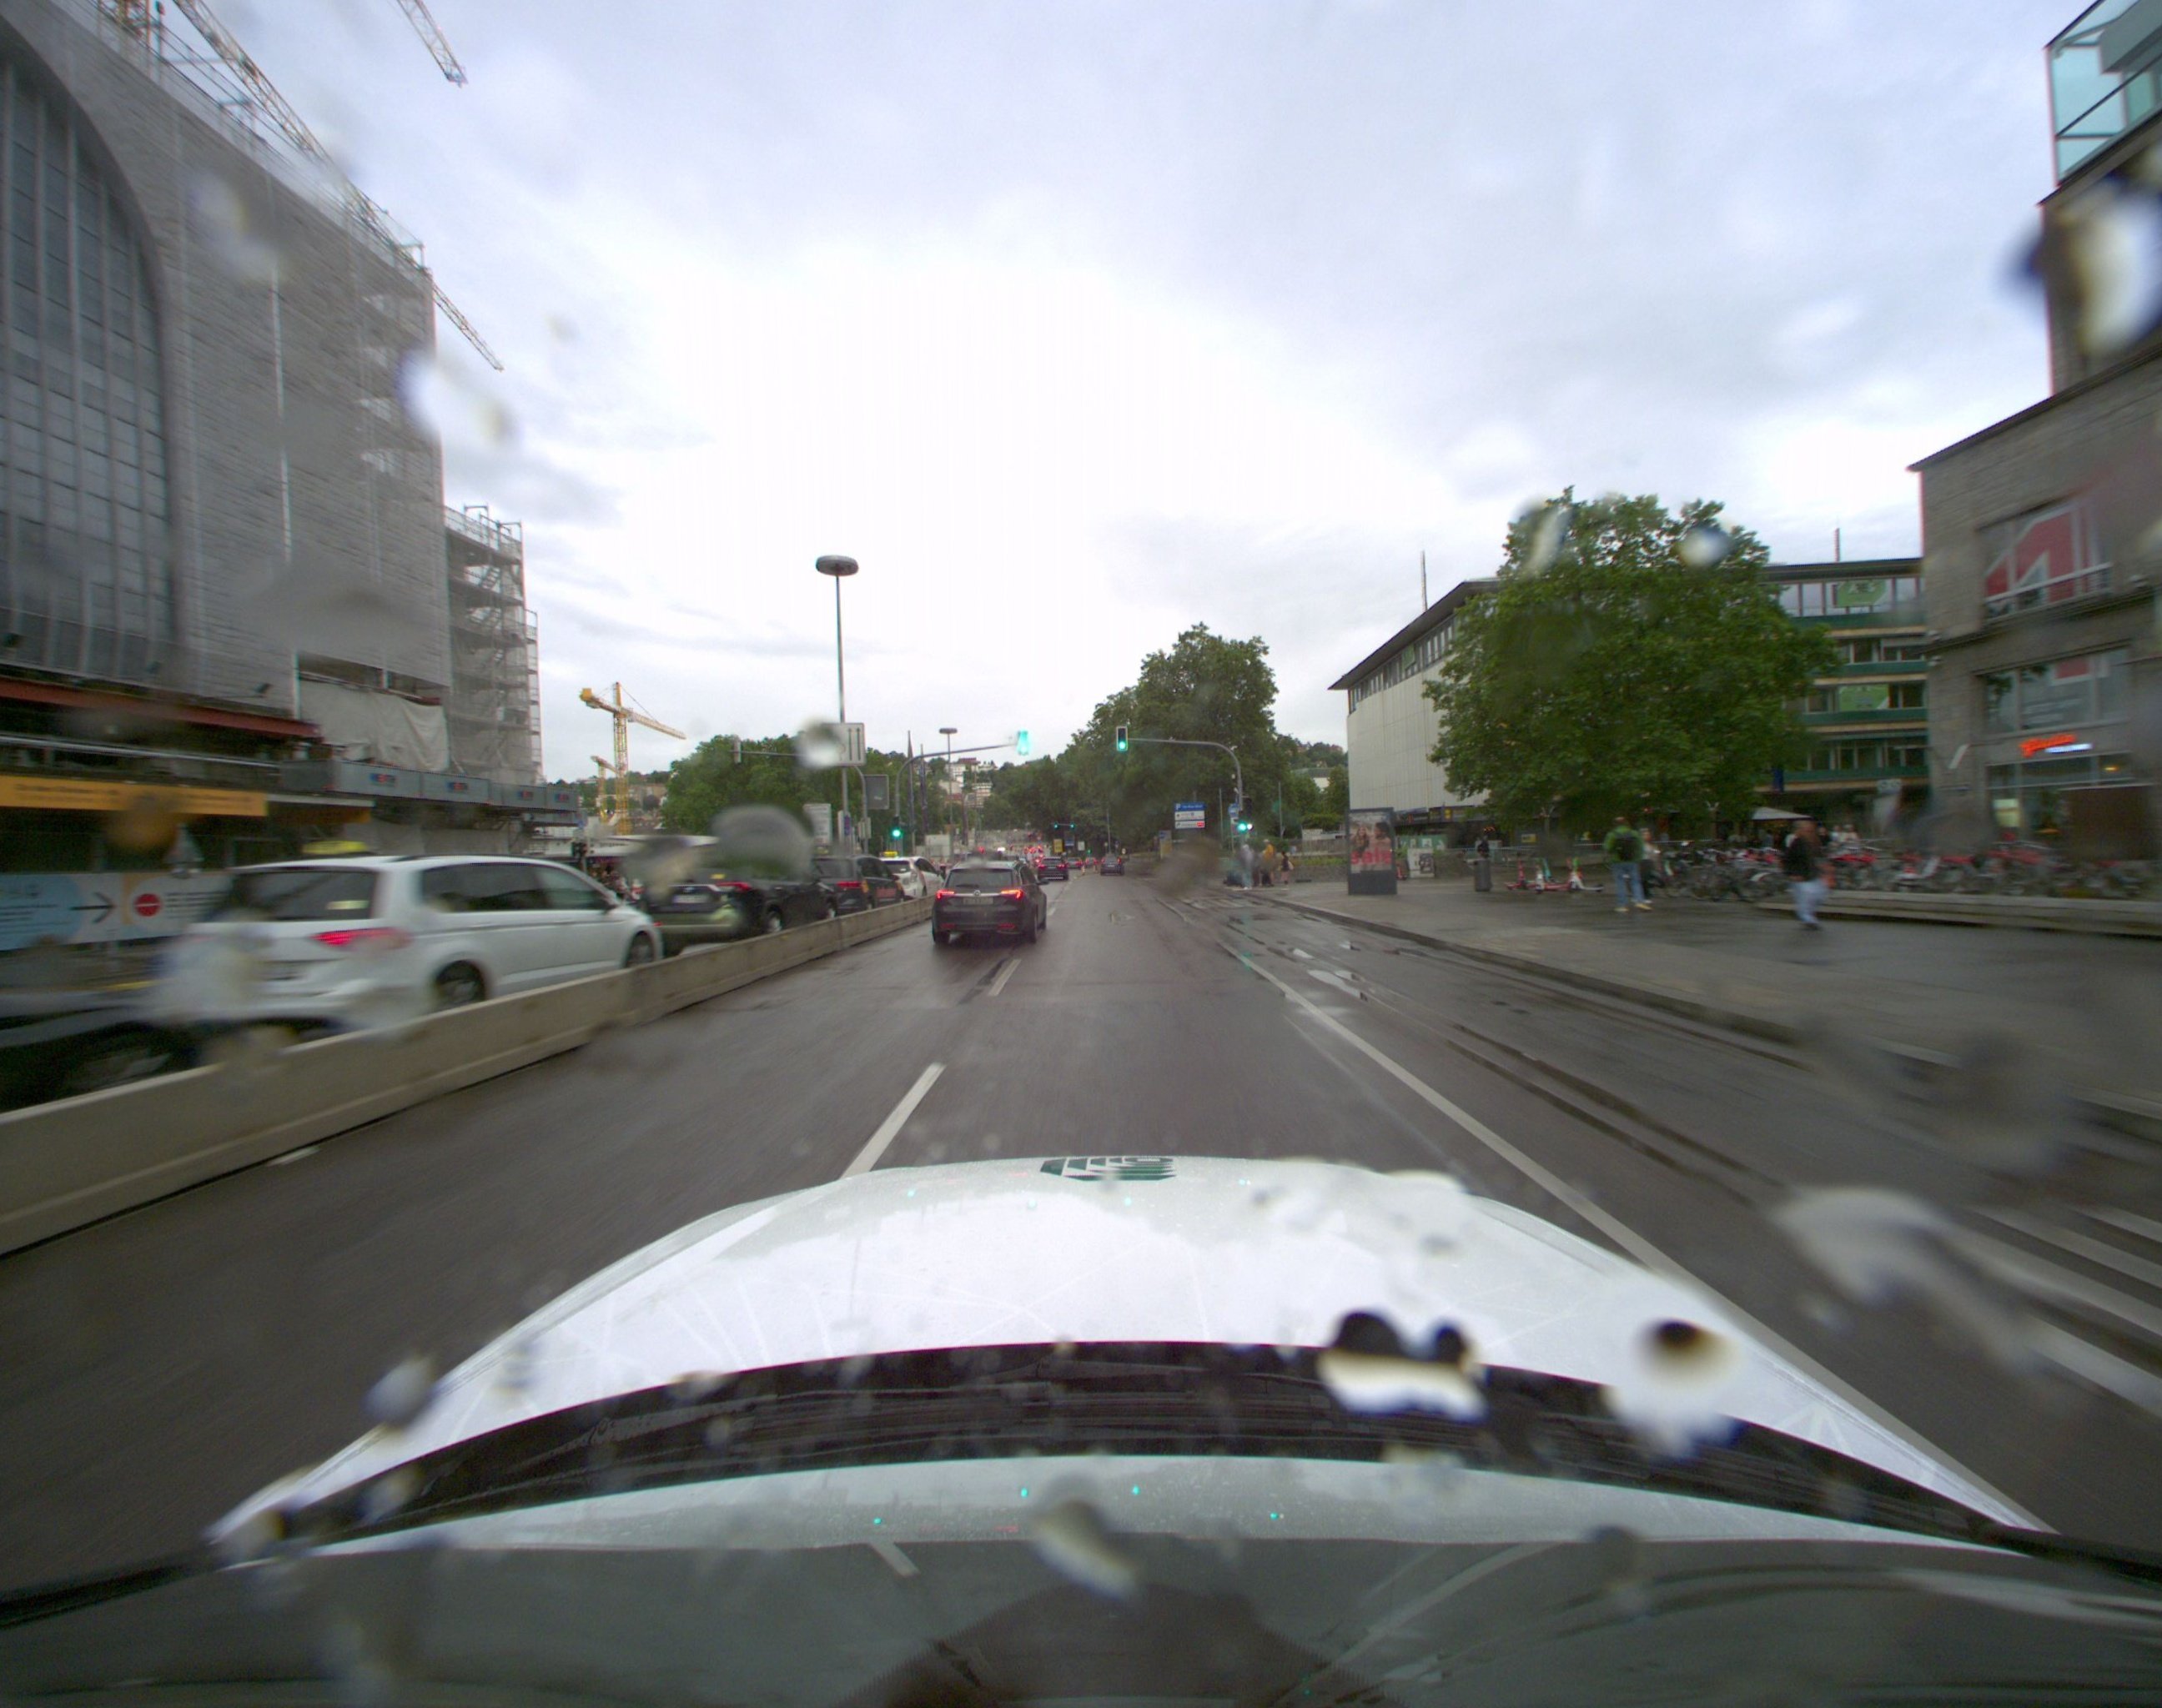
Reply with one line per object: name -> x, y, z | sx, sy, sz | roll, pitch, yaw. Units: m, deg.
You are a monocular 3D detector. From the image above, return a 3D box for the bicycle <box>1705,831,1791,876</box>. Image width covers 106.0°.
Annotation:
bicycle -> 20.235, -0.012, 24.725 | 1.981, 1.237, 0.618 | -4, 0, 3

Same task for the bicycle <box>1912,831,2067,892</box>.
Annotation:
bicycle -> 19.868, 0.148, 17.821 | 2.878, 1.109, 0.877 | -4, 0, -11

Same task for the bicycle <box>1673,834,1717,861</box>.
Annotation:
bicycle -> 26.736, -0.282, 35.515 | 0.612, 1.102, 2.030 | -4, 0, 10

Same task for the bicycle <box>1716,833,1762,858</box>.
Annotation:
bicycle -> 28.590, -0.380, 35.442 | 0.612, 1.025, 2.001 | -4, 0, 10

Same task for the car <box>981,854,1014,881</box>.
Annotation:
car -> -5.567, 0.882, 54.990 | 1.819, 1.696, 4.770 | -1, 0, -2

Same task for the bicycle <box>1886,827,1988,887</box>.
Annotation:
bicycle -> 20.008, 0.063, 19.038 | 1.990, 1.237, 0.615 | -4, 0, -11

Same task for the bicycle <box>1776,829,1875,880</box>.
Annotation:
bicycle -> 20.112, 0.016, 22.034 | 1.981, 1.237, 0.618 | -4, 0, 3

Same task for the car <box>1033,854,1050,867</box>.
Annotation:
car -> -5.811, 0.985, 119.238 | 1.992, 1.827, 3.989 | -1, 0, -8

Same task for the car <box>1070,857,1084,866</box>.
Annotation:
car -> -0.651, 1.259, 136.605 | 1.813, 1.574, 3.988 | -1, 0, -8

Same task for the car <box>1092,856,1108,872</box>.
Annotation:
car -> 1.983, 1.002, 84.219 | 1.668, 1.581, 3.240 | -1, 0, 2

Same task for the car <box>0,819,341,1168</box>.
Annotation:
car -> -6.357, 0.729, 3.263 | 2.042, 1.711, 5.056 | -3, 0, 1

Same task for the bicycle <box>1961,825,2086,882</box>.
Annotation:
bicycle -> 19.439, -0.008, 16.796 | 2.228, 1.109, 0.739 | -1, -1, -14

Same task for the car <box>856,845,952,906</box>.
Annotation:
car -> -5.496, 0.622, 25.904 | 1.779, 1.685, 4.669 | -3, 0, 2

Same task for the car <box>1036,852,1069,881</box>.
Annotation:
car -> -1.755, 0.728, 51.332 | 1.824, 1.686, 4.134 | -2, 0, 0

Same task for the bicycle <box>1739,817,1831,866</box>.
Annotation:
bicycle -> 20.130, -0.355, 23.319 | 1.981, 1.237, 0.618 | -4, 0, 3

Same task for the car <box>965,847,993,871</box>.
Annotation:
car -> -9.011, 0.484, 72.278 | 1.989, 2.014, 5.364 | -1, 0, -3

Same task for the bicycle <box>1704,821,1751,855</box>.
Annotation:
bicycle -> 30.911, -0.761, 38.963 | 0.788, 1.562, 2.137 | -2, 0, 10

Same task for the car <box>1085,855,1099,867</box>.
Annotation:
car -> 1.502, 0.942, 111.546 | 1.631, 1.624, 3.791 | -1, 0, -3

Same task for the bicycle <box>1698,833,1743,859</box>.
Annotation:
bicycle -> 27.847, -0.348, 35.493 | 0.612, 1.055, 2.001 | -4, 0, 10

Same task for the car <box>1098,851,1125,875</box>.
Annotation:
car -> 2.274, 0.655, 61.687 | 1.846, 1.717, 3.999 | -1, 0, 0

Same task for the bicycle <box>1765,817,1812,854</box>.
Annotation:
bicycle -> 31.764, -0.818, 36.576 | 0.612, 1.634, 2.001 | -2, 0, 10

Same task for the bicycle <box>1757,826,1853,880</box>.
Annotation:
bicycle -> 20.137, -0.024, 22.679 | 1.981, 1.335, 0.618 | -4, 0, 3

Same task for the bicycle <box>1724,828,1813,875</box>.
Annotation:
bicycle -> 20.185, -0.078, 23.936 | 1.981, 1.237, 0.618 | -4, 0, 3

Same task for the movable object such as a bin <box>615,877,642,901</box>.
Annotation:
movable object such as a bin -> -20.089, 1.546, 36.148 | 0.756, 0.970, 0.721 | -2, 0, 0

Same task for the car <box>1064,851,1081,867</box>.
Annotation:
car -> -0.984, 0.595, 94.990 | 1.898, 1.717, 3.999 | -1, 0, 0

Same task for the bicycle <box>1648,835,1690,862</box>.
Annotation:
bicycle -> 25.859, -0.243, 35.841 | 0.612, 1.102, 2.030 | -4, 0, 10

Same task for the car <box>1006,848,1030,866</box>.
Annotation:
car -> -6.094, 0.325, 79.152 | 1.988, 1.567, 4.872 | -4, 0, -2

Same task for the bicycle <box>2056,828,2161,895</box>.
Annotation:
bicycle -> 19.132, 0.126, 15.065 | 1.692, 1.109, 0.671 | -4, 0, -13

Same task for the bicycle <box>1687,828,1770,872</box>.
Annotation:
bicycle -> 20.247, -0.130, 25.479 | 1.981, 1.237, 0.618 | -4, 0, 3

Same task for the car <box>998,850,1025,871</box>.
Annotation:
car -> -5.432, 0.513, 63.659 | 1.819, 1.511, 4.487 | -1, 0, -2

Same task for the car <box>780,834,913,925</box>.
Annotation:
car -> -5.533, 0.557, 19.870 | 1.707, 1.892, 4.612 | -3, 0, 2

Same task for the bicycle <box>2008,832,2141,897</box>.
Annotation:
bicycle -> 19.398, 0.201, 15.911 | 1.979, 1.109, 0.821 | -4, 0, -13

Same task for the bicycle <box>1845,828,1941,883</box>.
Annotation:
bicycle -> 19.857, 0.033, 19.929 | 1.609, 1.225, 0.618 | -4, 0, 3

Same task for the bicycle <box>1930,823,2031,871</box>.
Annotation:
bicycle -> 25.117, -0.191, 22.789 | 0.656, 1.255, 2.015 | -2, 0, 4

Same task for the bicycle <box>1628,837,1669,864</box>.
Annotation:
bicycle -> 24.934, -0.161, 35.807 | 0.612, 1.119, 2.001 | -4, 0, 10

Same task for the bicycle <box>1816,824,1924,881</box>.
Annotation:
bicycle -> 19.896, -0.034, 20.562 | 1.981, 1.266, 0.618 | -4, 0, 3

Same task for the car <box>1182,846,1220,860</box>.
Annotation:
car -> 12.812, -0.098, 87.129 | 3.573, 1.506, 1.745 | -1, -1, 40

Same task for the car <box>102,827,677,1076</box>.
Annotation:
car -> -6.302, 0.730, 8.347 | 1.987, 1.787, 4.454 | -3, 0, 0

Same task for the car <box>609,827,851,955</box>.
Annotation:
car -> -5.825, 0.547, 14.343 | 1.986, 1.787, 4.849 | -3, 0, 1

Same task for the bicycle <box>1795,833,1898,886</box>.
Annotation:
bicycle -> 20.012, 0.145, 21.315 | 1.981, 1.237, 0.618 | -4, 0, 3

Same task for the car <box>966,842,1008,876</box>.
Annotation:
car -> -5.445, 0.297, 47.657 | 1.988, 1.845, 5.058 | -1, 0, -2
